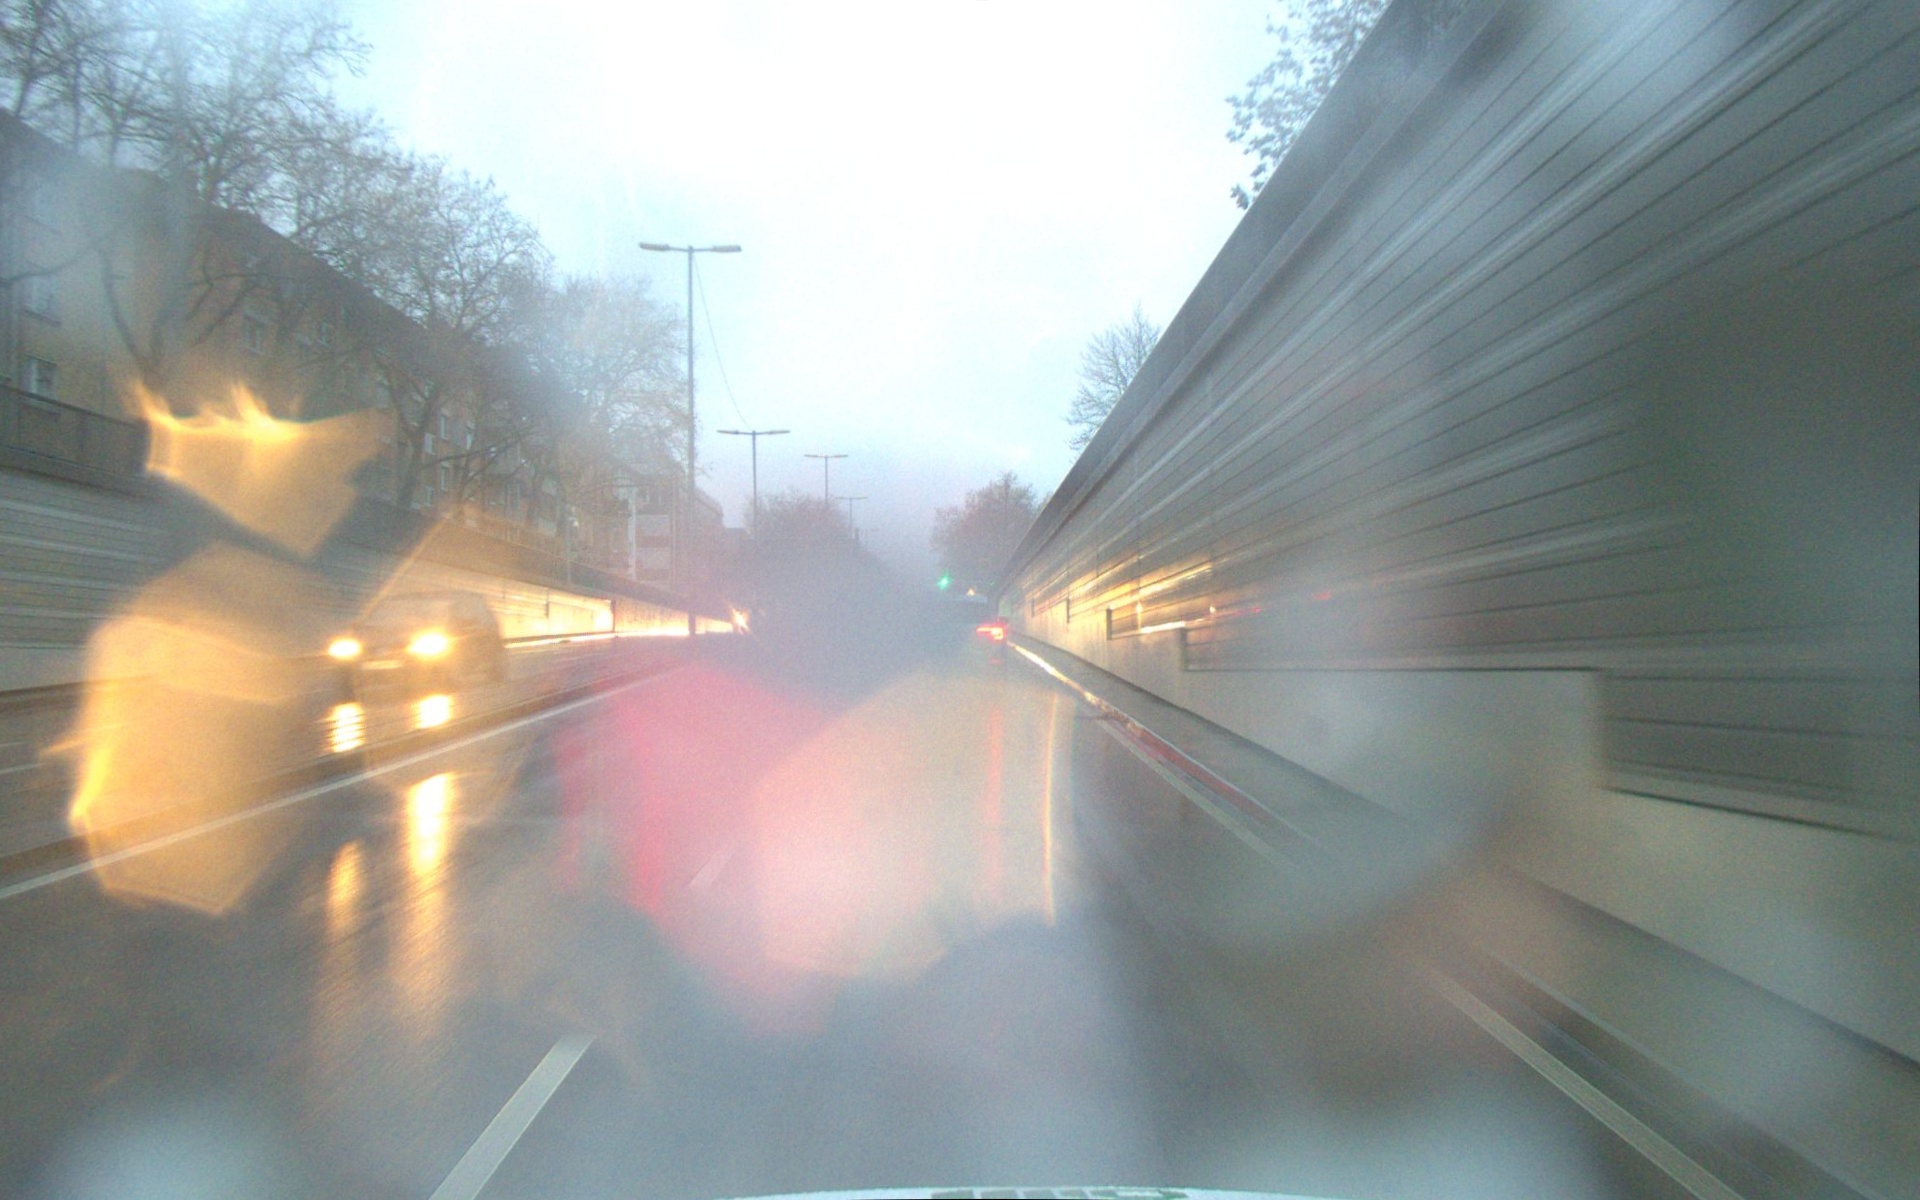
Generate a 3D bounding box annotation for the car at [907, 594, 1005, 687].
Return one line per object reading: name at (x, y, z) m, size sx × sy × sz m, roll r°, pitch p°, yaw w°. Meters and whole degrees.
car at (-0.096, 0.672, 27.136) m, size 1.501 × 1.422 × 3.432 m, roll 0°, pitch -2°, yaw -1°

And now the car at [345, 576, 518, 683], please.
car at (-8.081, 0.408, 25.606) m, size 1.540 × 1.496 × 3.686 m, roll -1°, pitch 1°, yaw -2°

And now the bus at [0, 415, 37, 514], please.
bus at (-20.391, -2.812, 32.919) m, size 1.660 × 1.903 × 4.064 m, roll -3°, pitch -2°, yaw 1°

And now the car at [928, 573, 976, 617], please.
car at (-0.351, -0.177, 69.921) m, size 1.843 × 1.649 × 3.997 m, roll 1°, pitch -3°, yaw -3°
